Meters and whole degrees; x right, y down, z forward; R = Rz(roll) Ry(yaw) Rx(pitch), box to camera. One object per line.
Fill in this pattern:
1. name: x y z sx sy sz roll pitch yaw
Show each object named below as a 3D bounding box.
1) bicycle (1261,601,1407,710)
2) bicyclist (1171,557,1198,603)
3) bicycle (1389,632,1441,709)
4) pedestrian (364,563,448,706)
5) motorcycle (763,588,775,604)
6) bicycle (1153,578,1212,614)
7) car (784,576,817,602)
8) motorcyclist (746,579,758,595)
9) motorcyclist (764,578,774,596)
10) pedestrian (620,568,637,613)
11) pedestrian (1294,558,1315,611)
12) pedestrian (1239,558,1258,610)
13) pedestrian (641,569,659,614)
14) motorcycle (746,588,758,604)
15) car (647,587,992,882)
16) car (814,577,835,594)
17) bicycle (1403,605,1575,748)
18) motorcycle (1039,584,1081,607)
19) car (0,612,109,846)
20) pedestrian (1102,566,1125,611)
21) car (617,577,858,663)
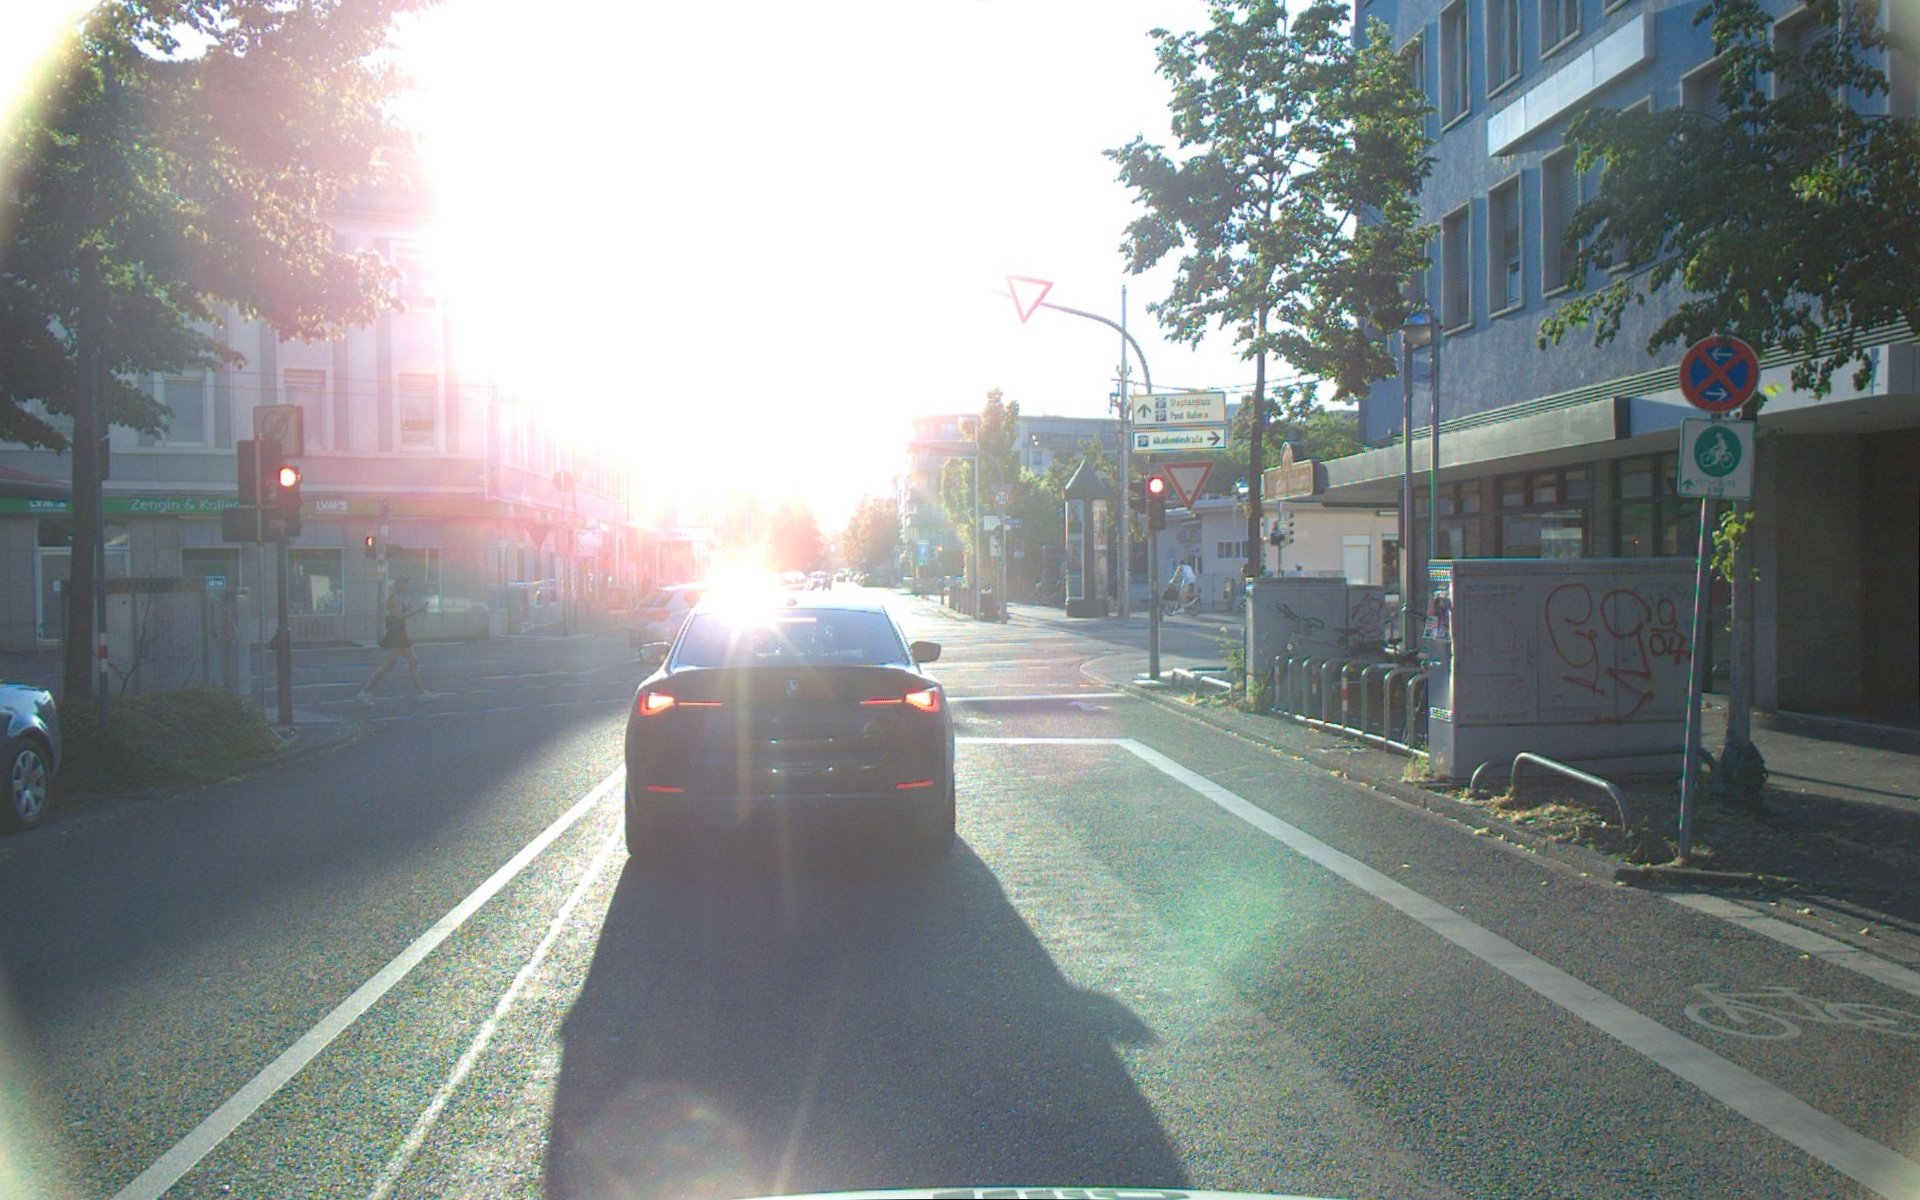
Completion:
1. bicycle: 4.222 0.618 18.690 1.580 1.191 0.318 -1 1 -2
2. bicyclist: 7.438 -0.661 54.763 0.547 1.507 0.712 1 0 -42
3. bicycle: 5.190 0.795 18.910 0.244 0.810 1.115 1 0 -2
4. pedestrian: -7.591 0.450 22.674 0.988 1.893 0.635 -2 1 -24
5. motorcycle: -11.402 -0.237 98.744 0.563 0.931 2.199 1 1 -3
6. bicycle: 7.370 -0.142 54.837 0.547 1.179 2.112 1 0 -41
7. car: -9.555 -0.683 99.412 1.782 1.545 3.997 -1 1 -4
8. motorcyclist: -12.484 -0.803 99.133 0.563 0.931 2.199 1 1 -3
9. motorcyclist: -11.377 -0.777 98.631 0.563 1.013 0.702 1 0 -4
10. pedestrian: -14.250 -0.392 71.103 0.630 1.909 0.631 1 0 -4
11. pedestrian: 11.777 -0.530 56.522 0.473 1.765 0.526 1 0 -28
12. pedestrian: 9.908 -0.547 56.802 0.437 1.765 0.430 1 0 -29
13. pedestrian: -13.402 -0.380 71.424 0.663 1.909 0.617 1 0 -4
14. motorcycle: -12.494 -0.262 99.198 0.563 0.931 2.199 1 1 -3
15. car: -0.863 0.654 10.340 1.703 1.453 4.220 0 0 -5
16. car: -12.573 -1.370 153.868 1.782 1.545 3.997 -1 1 -4
17. bicycle: 4.742 0.681 14.855 1.412 1.241 0.383 1 0 -2
18. motorcycle: 4.324 -0.208 71.362 1.641 0.955 0.853 -1 1 -15
19. car: -6.802 0.858 9.618 1.689 1.440 4.277 -3 0 -4
20. pedestrian: 5.261 -0.396 56.777 0.718 1.555 0.472 1 0 -3
21. car: -4.320 0.337 32.226 4.260 1.524 1.981 -1 1 -30
